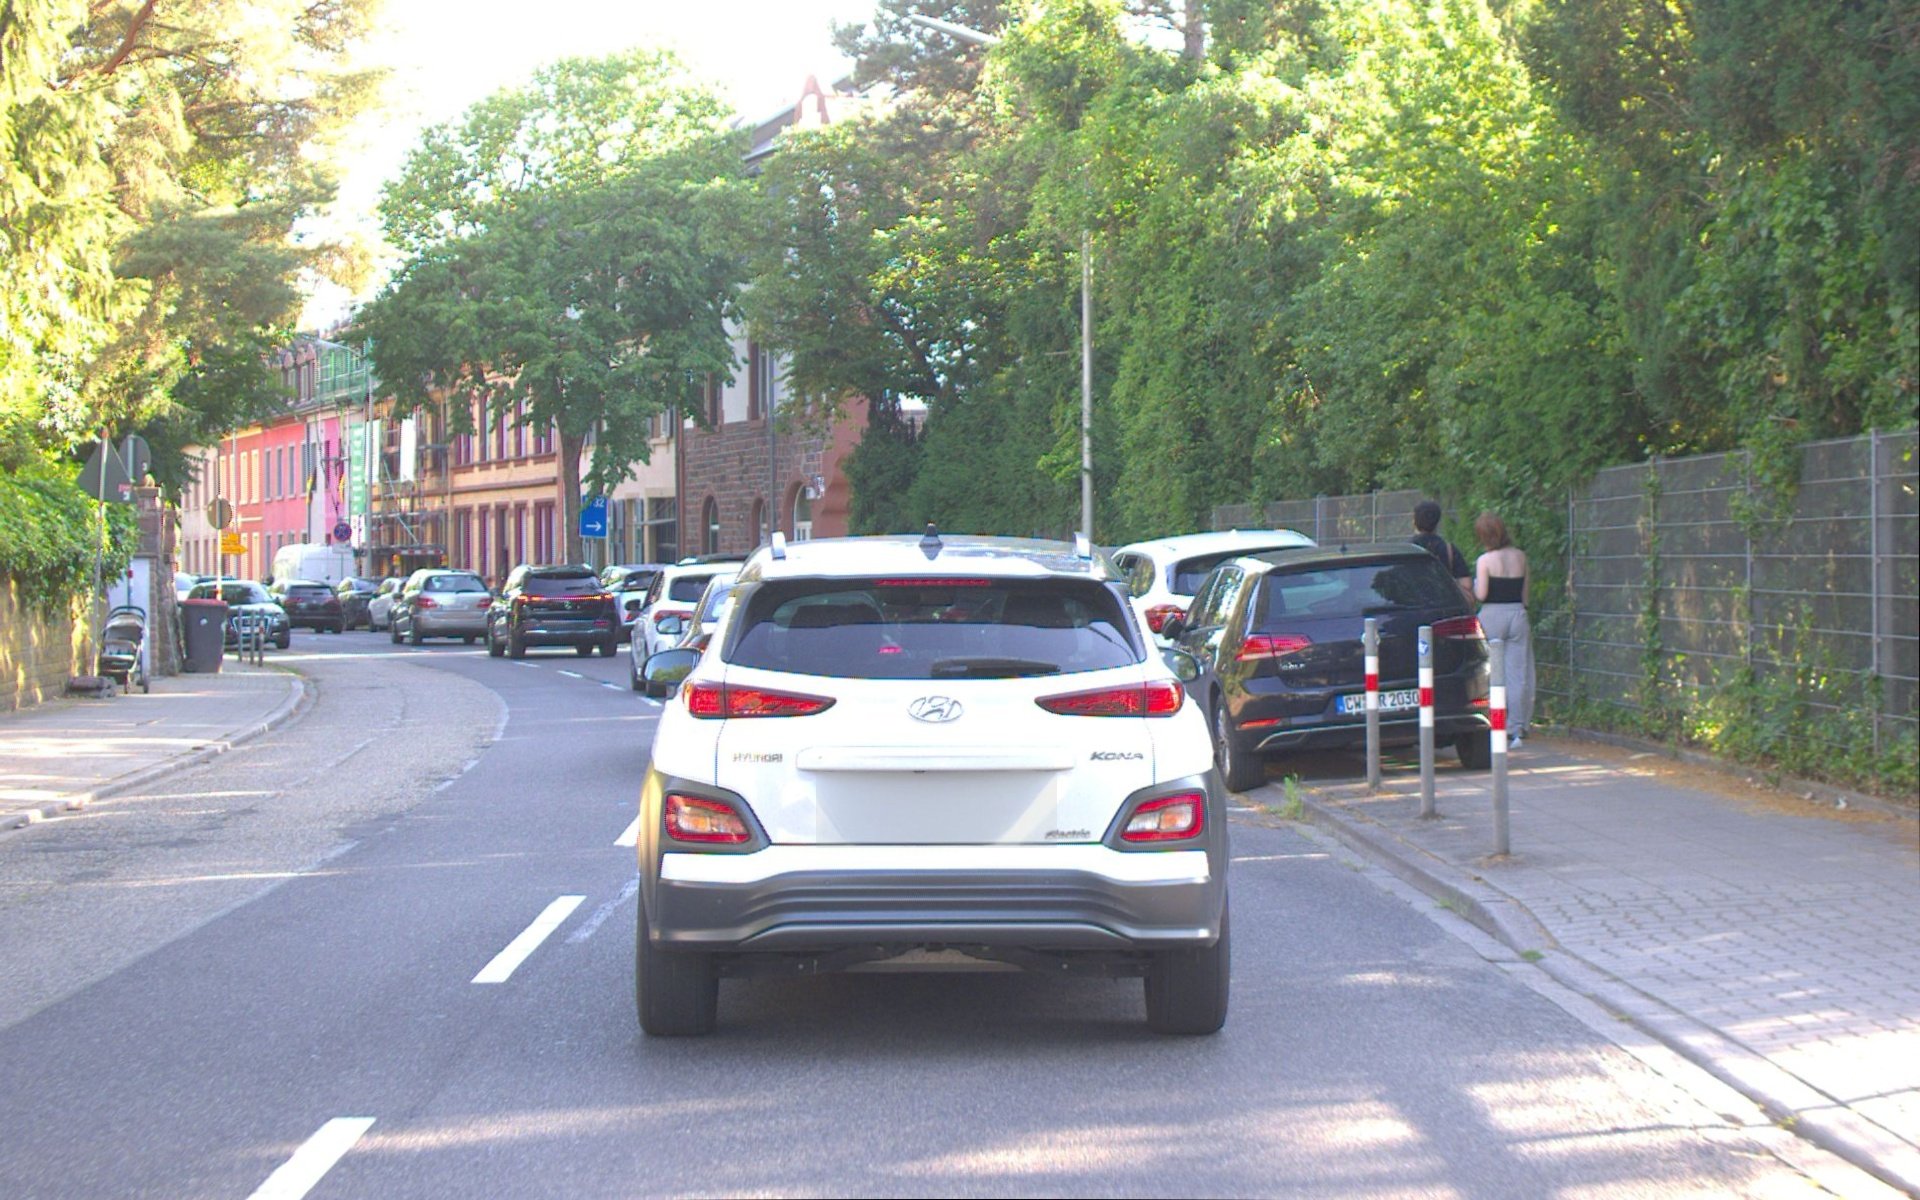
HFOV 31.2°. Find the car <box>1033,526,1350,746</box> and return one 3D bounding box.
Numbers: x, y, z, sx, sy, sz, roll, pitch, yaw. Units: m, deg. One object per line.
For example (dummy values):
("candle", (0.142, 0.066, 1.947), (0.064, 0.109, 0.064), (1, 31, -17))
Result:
("car", (1.777, 0.259, 27.645), (1.593, 1.560, 4.001), (-3, 1, -9))

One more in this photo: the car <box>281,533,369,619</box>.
("car", (-19.657, -0.737, 106.333), (1.928, 2.574, 4.395), (-2, 1, -20))

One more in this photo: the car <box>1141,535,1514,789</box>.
("car", (2.290, 0.339, 22.413), (1.686, 1.426, 4.001), (-3, 1, -4))

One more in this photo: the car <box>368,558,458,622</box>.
("car", (-14.784, -0.284, 92.716), (1.755, 1.611, 4.001), (0, 1, -18))

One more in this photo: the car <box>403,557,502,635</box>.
("car", (-10.695, -0.106, 72.337), (1.589, 1.577, 3.362), (-1, 1, -16))

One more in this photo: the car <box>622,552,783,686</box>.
("car", (-3.035, 0.194, 39.977), (1.570, 1.472, 3.549), (0, 1, -9))

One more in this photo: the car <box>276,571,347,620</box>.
("car", (-17.363, -0.122, 91.972), (1.526, 1.256, 3.362), (-1, 1, -17))

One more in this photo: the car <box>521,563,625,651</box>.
("car", (-6.732, 0.099, 59.630), (1.592, 1.456, 3.100), (-1, 1, -10))

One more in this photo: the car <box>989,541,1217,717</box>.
("car", (1.317, 0.253, 33.215), (1.593, 1.514, 3.933), (-3, 1, -6))

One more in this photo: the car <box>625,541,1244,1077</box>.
("car", (-0.085, 0.575, 11.856), (1.772, 1.537, 4.000), (0, 1, 0))

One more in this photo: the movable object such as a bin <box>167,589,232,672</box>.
("movable object such as a bin", (-11.058, 0.435, 50.021), (0.791, 1.185, 0.773), (1, 0, -2))

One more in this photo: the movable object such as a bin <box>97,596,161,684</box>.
("movable object such as a bin", (-9.661, 0.458, 39.992), (0.495, 1.008, 1.113), (1, 0, -1))

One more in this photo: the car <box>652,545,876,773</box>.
("car", (-1.447, 0.379, 25.419), (1.511, 1.528, 3.548), (-1, 1, -3))

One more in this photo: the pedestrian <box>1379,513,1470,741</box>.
("pedestrian", (3.340, 0.190, 24.743), (0.503, 1.601, 0.491), (-3, 1, -1))

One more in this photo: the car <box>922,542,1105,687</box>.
("car", (0.558, 0.126, 38.815), (1.593, 1.484, 3.603), (-3, 1, -6))

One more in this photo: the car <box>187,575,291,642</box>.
("car", (-14.871, 0.156, 70.788), (1.592, 1.313, 3.813), (0, 0, -20))

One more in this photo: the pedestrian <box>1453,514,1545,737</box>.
("pedestrian", (3.876, 0.179, 24.752), (0.503, 1.564, 0.503), (-3, 1, -1))

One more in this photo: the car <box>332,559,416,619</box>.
("car", (-16.683, -0.327, 97.742), (1.755, 1.611, 4.001), (0, 1, -18))
